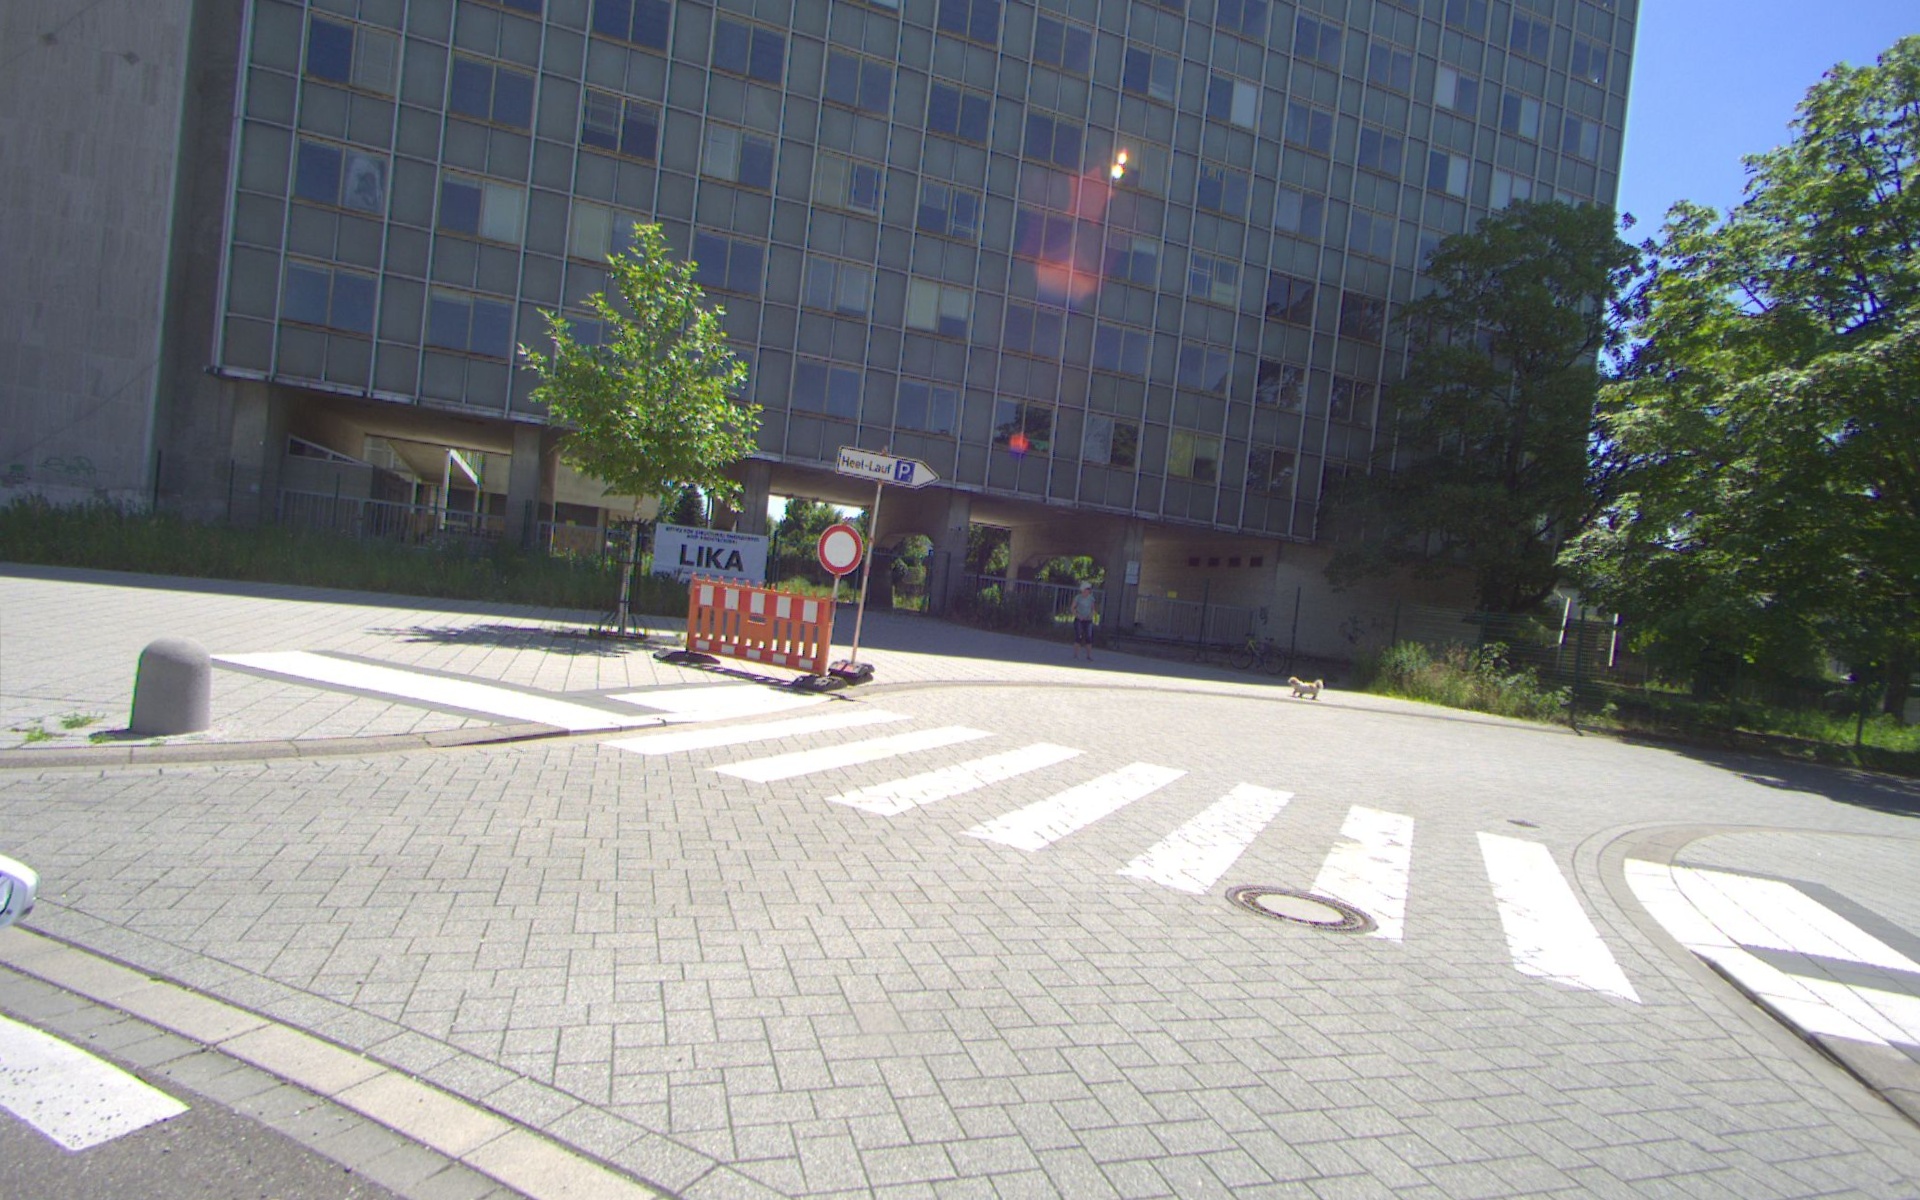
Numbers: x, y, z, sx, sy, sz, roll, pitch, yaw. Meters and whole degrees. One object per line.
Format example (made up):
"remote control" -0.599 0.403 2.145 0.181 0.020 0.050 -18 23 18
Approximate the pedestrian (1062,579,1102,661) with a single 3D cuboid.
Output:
"pedestrian" 2.701 0.443 22.251 0.557 1.732 0.485 6 4 -13

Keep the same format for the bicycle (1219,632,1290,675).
"bicycle" 7.687 1.380 26.332 0.445 0.919 1.734 5 1 -40
